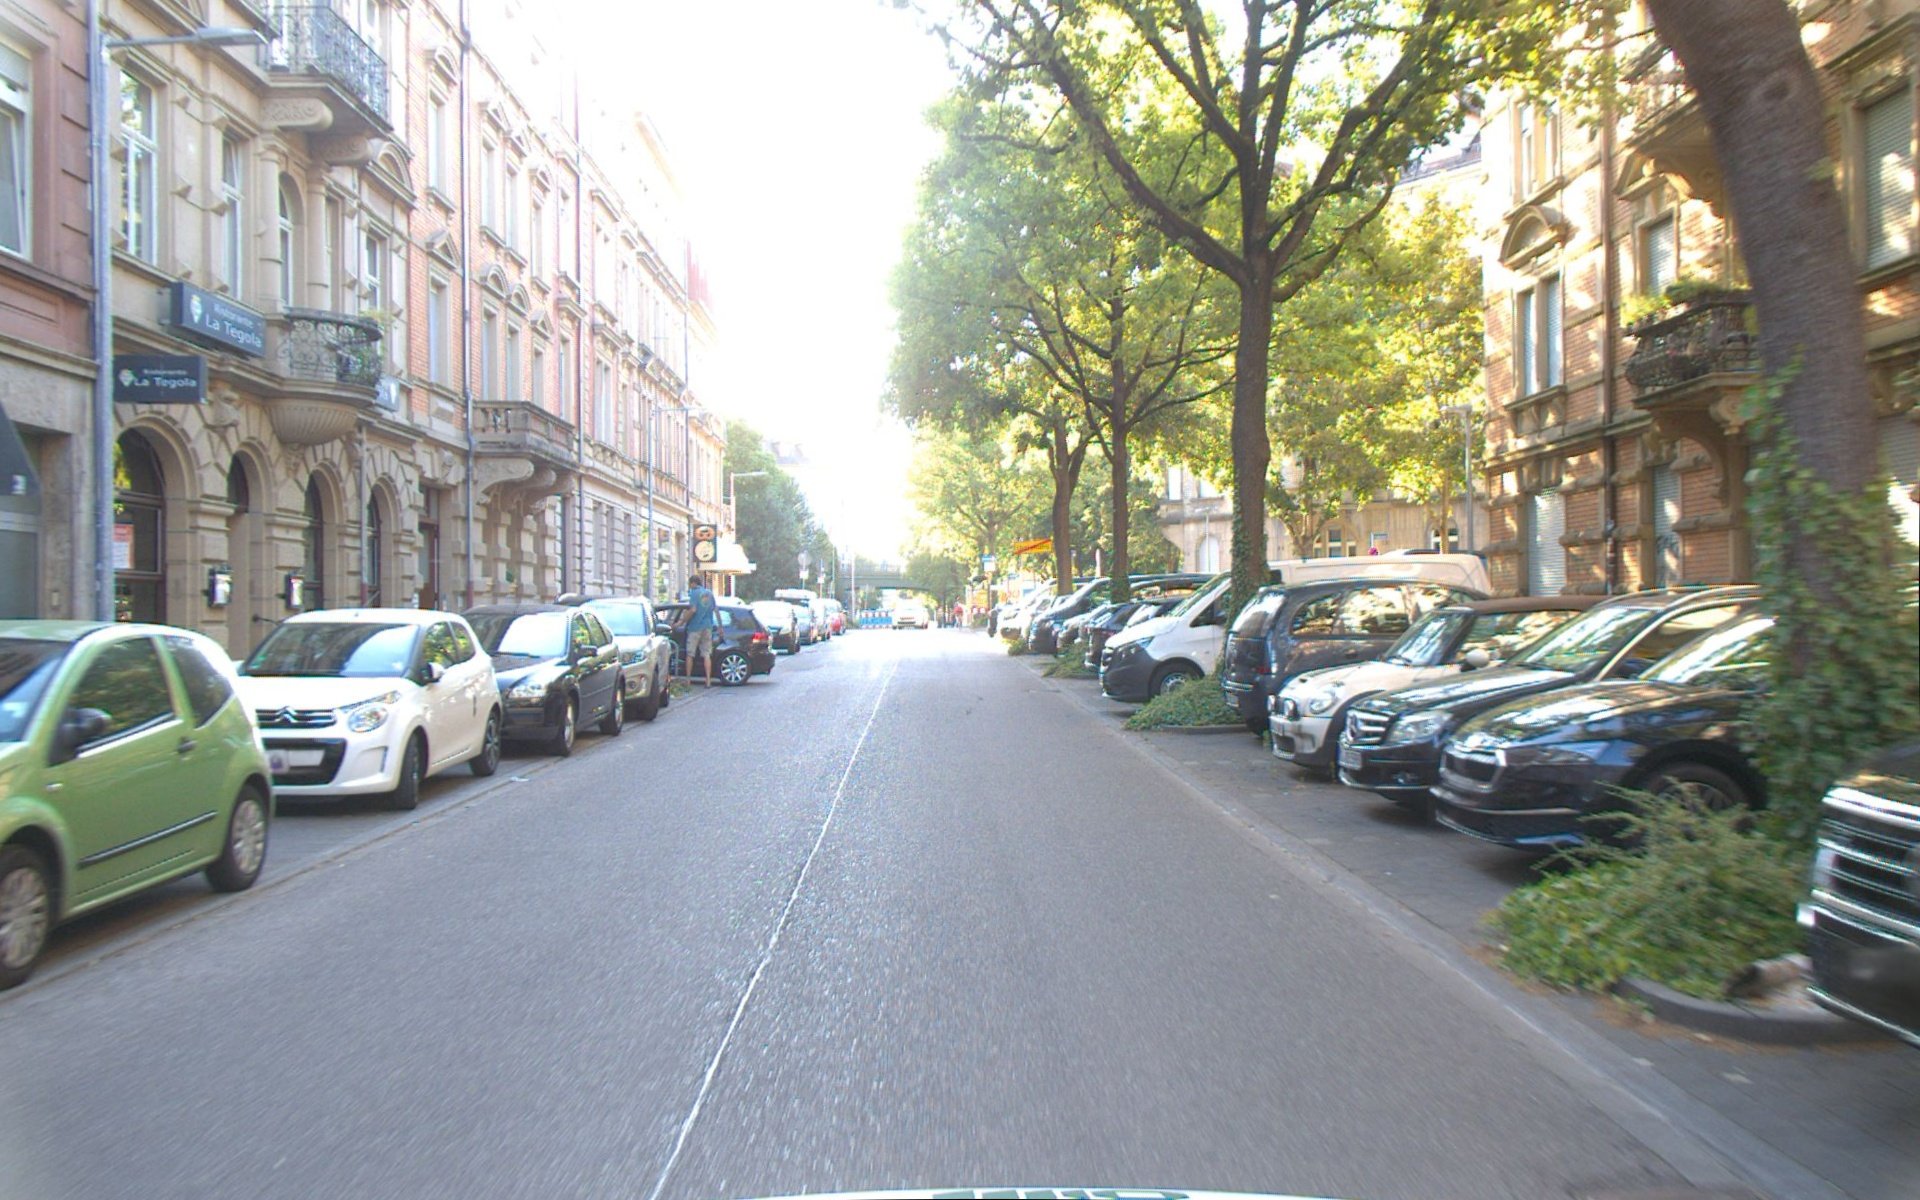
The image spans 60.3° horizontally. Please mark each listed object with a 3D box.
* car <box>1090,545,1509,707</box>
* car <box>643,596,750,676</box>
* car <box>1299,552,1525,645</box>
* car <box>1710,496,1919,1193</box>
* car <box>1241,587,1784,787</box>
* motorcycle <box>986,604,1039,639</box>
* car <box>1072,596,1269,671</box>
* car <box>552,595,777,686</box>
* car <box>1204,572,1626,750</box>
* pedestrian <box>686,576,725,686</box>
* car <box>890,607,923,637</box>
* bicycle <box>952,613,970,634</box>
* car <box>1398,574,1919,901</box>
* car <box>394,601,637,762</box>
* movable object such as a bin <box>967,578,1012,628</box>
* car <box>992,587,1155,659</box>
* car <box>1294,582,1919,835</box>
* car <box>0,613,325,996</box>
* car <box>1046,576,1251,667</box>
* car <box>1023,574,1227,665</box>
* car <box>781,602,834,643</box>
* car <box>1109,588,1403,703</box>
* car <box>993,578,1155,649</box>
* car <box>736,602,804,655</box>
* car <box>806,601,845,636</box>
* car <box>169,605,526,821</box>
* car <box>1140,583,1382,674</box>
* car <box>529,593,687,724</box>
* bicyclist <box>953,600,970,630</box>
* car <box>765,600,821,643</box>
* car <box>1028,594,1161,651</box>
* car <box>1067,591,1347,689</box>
[{"bbox_3d":[4.293,0.380,21.608,4.988,1.974,2.157,0,-4,-1],"label":"car"},{"bbox_3d":[-5.595,0.735,35.560,1.706,1.594,3.894,-1,0,-1],"label":"car"},{"bbox_3d":[12.892,-0.055,47.373,5.782,2.582,2.376,0,0,-7],"label":"car"},{"bbox_3d":[4.631,0.517,4.247,4.554,1.732,1.880,-2,0,-5],"label":"car"},{"bbox_3d":[4.618,0.685,14.155,4.026,1.529,1.809,-1,0,-6],"label":"car"},{"bbox_3d":[2.076,0.844,65.143,1.983,1.307,0.903,-2,0,-3],"label":"motorcycle"},{"bbox_3d":[4.287,0.681,34.170,3.903,1.473,1.891,-1,0,3],"label":"car"},{"bbox_3d":[-5.337,0.714,30.305,3.911,1.556,1.823,-1,0,-7],"label":"car"},{"bbox_3d":[4.581,0.586,16.955,3.809,1.678,1.722,-1,0,-6],"label":"car"},{"bbox_3d":[-4.500,0.541,29.241,0.578,1.921,0.640,-1,0,-1],"label":"pedestrian"},{"bbox_3d":[-2.811,1.132,87.280,1.713,1.535,3.999,0,0,-1],"label":"car"},{"bbox_3d":[0.053,1.133,79.395,0.787,0.985,2.107,1,0,-2],"label":"bicycle"},{"bbox_3d":[4.874,0.651,8.994,4.459,1.556,2.000,-1,0,0],"label":"car"},{"bbox_3d":[-4.691,0.791,18.013,1.614,1.498,3.999,2,0,-2],"label":"car"},{"bbox_3d":[1.669,0.179,92.036,1.951,2.747,3.113,0,-1,12],"label":"movable object such as a bin"},{"bbox_3d":[2.815,0.558,41.661,3.907,1.722,1.799,-1,0,-3],"label":"car"},{"bbox_3d":[4.858,0.660,11.566,4.575,1.529,1.927,-1,0,-11],"label":"car"},{"bbox_3d":[-4.610,0.821,7.898,1.670,1.464,3.958,-1,0,-1],"label":"car"},{"bbox_3d":[4.118,0.458,36.552,4.185,1.918,1.937,-1,0,-5],"label":"car"},{"bbox_3d":[3.829,0.443,38.922,4.524,2.049,1.998,-1,0,-4],"label":"car"},{"bbox_3d":[-5.865,0.845,63.876,1.690,1.462,3.995,2,0,-1],"label":"car"},{"bbox_3d":[4.348,0.640,24.553,3.913,1.500,1.778,-2,0,-9],"label":"car"},{"bbox_3d":[3.532,0.411,51.891,4.873,2.133,2.105,0,0,-1],"label":"car"},{"bbox_3d":[-5.531,0.805,48.491,1.669,1.480,4.018,0,0,-2],"label":"car"},{"bbox_3d":[-6.011,0.827,74.206,1.636,1.557,3.997,0,0,-4],"label":"car"},{"bbox_3d":[-4.862,0.801,13.717,1.550,1.499,3.999,-1,0,-2],"label":"car"},{"bbox_3d":[5.359,0.500,29.772,3.998,1.524,1.843,-1,0,-1],"label":"car"},{"bbox_3d":[-4.794,0.734,22.990,1.615,1.602,4.045,2,0,-5],"label":"car"},{"bbox_3d":[0.066,0.731,79.206,0.787,1.407,0.985,1,-1,-2],"label":"bicyclist"},{"bbox_3d":[-5.892,0.733,58.657,1.729,1.462,4.298,0,0,-3],"label":"car"},{"bbox_3d":[3.938,0.664,48.914,3.763,1.623,1.740,0,0,-2],"label":"car"},{"bbox_3d":[3.984,0.631,27.187,4.280,1.481,1.933,-1,0,-1],"label":"car"}]
